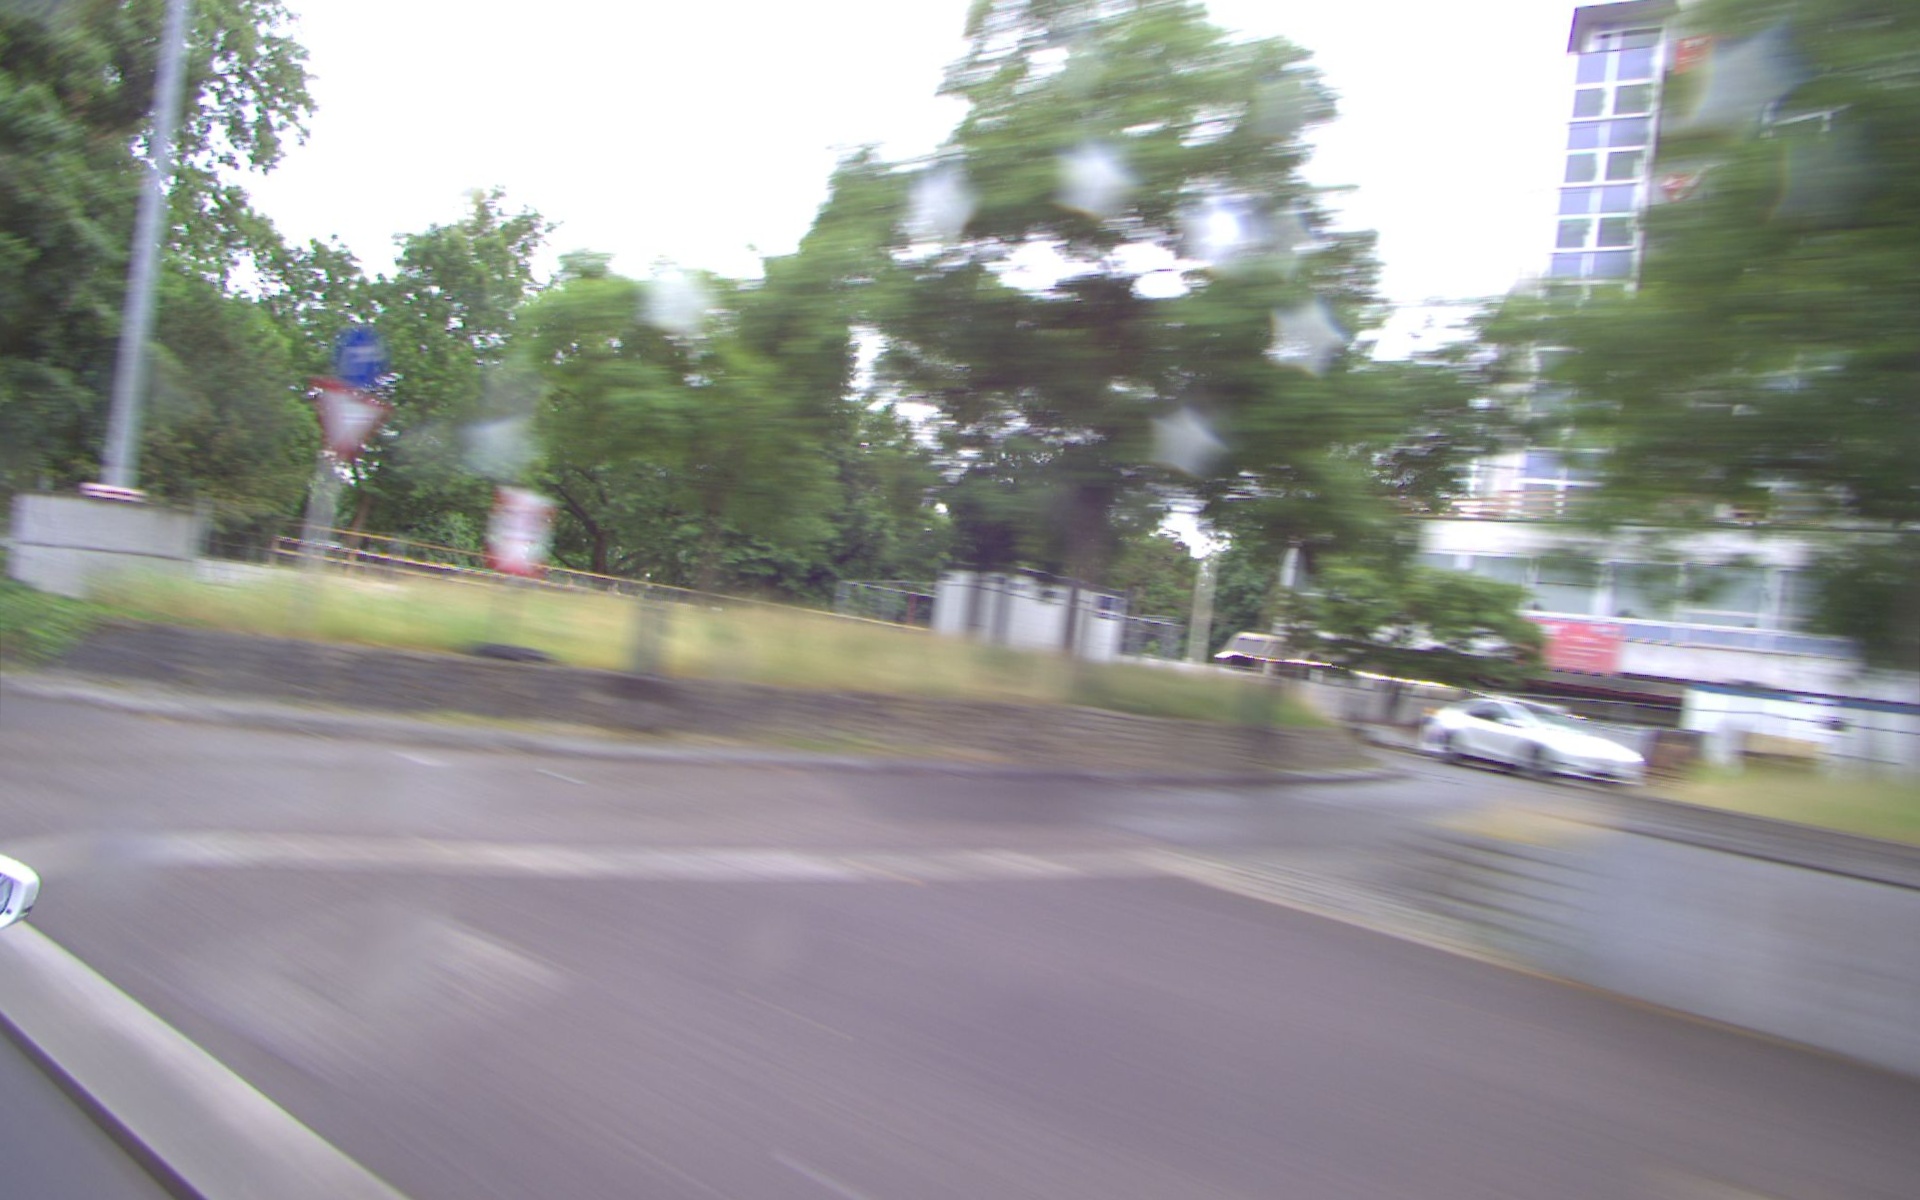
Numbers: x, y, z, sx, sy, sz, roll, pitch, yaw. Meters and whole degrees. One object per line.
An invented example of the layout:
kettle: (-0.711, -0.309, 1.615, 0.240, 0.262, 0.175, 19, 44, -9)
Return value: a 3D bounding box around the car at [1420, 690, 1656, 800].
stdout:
car: (12.561, 3.087, 22.330, 1.965, 1.647, 4.758, 8, -2, -6)
